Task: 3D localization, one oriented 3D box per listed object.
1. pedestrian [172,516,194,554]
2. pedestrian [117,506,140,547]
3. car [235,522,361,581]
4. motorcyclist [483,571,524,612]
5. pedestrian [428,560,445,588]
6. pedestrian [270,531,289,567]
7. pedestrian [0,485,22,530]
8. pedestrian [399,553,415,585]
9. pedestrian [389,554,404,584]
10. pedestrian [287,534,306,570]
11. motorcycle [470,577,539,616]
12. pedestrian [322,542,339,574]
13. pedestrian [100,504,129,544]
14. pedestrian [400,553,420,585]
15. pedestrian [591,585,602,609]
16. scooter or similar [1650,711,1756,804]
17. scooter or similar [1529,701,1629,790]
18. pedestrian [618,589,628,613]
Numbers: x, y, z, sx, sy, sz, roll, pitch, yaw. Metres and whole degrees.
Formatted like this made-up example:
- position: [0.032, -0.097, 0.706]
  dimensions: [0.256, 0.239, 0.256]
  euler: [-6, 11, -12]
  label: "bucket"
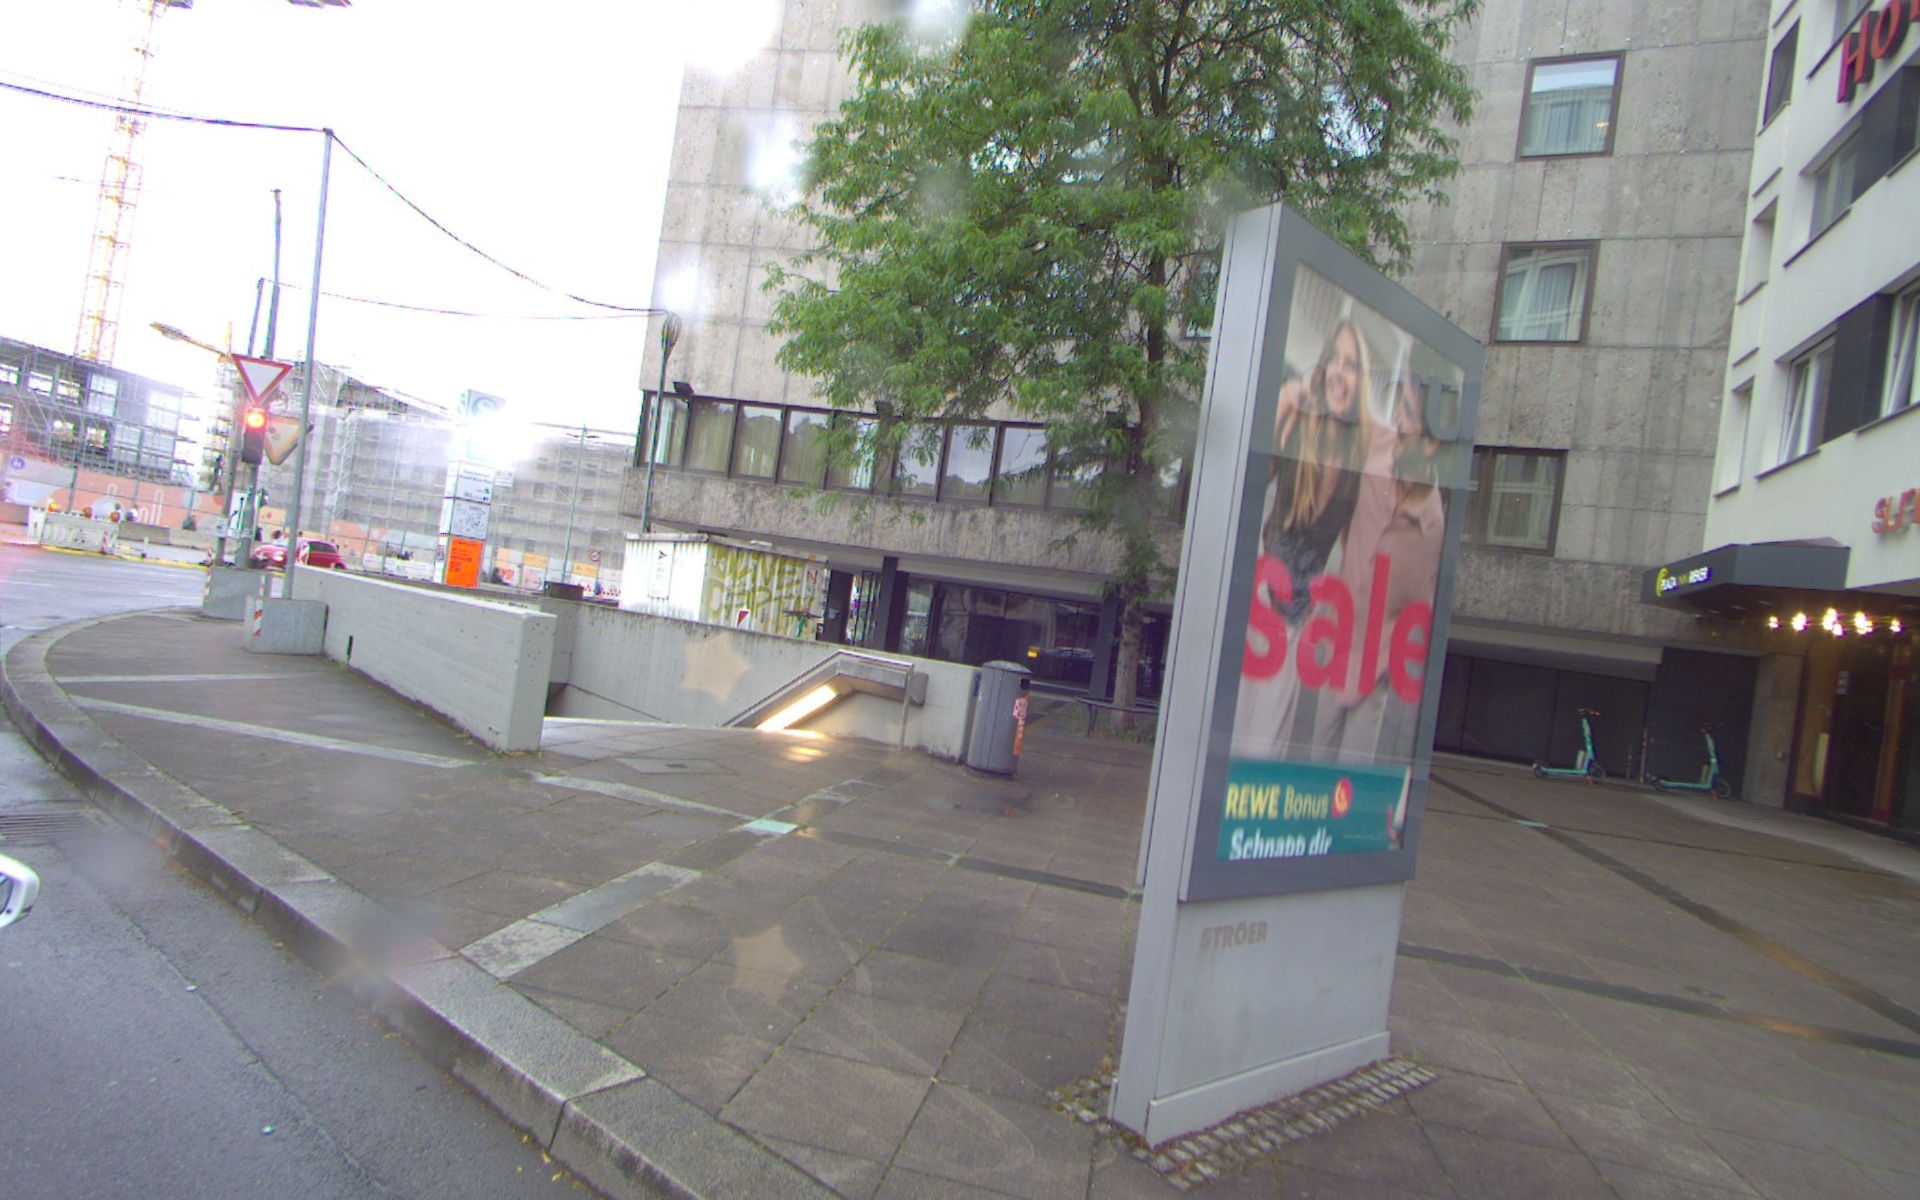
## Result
- position: [-40.694, -3.398, 52.703]
  dimensions: [0.355, 1.919, 0.577]
  euler: [7, -2, 21]
  label: "pedestrian"
- position: [-41.580, -3.666, 50.305]
  dimensions: [0.355, 1.919, 0.577]
  euler: [7, -2, 21]
  label: "pedestrian"
- position: [-27.893, -1.998, 42.530]
  dimensions: [1.962, 1.727, 4.008]
  euler: [7, -3, 14]
  label: "car"
- position: [-16.988, -0.307, 37.475]
  dimensions: [0.836, 1.373, 0.946]
  euler: [6, -3, 35]
  label: "motorcyclist"
- position: [-37.127, -1.847, 71.326]
  dimensions: [0.579, 1.919, 0.633]
  euler: [7, -2, 17]
  label: "pedestrian"
- position: [-37.881, -2.819, 55.997]
  dimensions: [0.355, 1.919, 0.577]
  euler: [7, -2, 21]
  label: "pedestrian"
- position: [-42.704, -4.145, 45.147]
  dimensions: [0.355, 1.919, 0.577]
  euler: [7, -2, 21]
  label: "pedestrian"
- position: [-35.120, -1.958, 63.873]
  dimensions: [0.355, 1.919, 0.577]
  euler: [7, -2, 21]
  label: "pedestrian"
- position: [-37.802, -2.093, 67.479]
  dimensions: [0.355, 1.919, 0.577]
  euler: [7, -2, 16]
  label: "pedestrian"
- position: [-37.246, -2.702, 56.489]
  dimensions: [0.355, 1.919, 0.577]
  euler: [7, -2, 21]
  label: "pedestrian"
- position: [-16.967, -0.129, 37.522]
  dimensions: [0.838, 1.120, 2.139]
  euler: [6, -4, 35]
  label: "motorcycle"
- position: [-39.129, -2.589, 62.496]
  dimensions: [0.355, 1.919, 0.577]
  euler: [7, -2, 21]
  label: "pedestrian"
- position: [-43.382, -3.910, 51.620]
  dimensions: [0.620, 1.922, 0.659]
  euler: [7, -2, 18]
  label: "pedestrian"
- position: [-36.217, -2.036, 66.260]
  dimensions: [0.555, 1.919, 0.801]
  euler: [7, -2, 17]
  label: "pedestrian"
- position: [-30.635, -0.242, 84.816]
  dimensions: [0.355, 1.919, 0.577]
  euler: [7, -2, 21]
  label: "pedestrian"
- position: [12.411, 2.617, 16.835]
  dimensions: [1.208, 1.352, 0.520]
  euler: [7, -2, 19]
  label: "scooter or similar"
- position: [10.372, 2.424, 16.903]
  dimensions: [1.208, 1.269, 0.565]
  euler: [7, 0, 19]
  label: "scooter or similar"
- position: [-29.059, 0.080, 86.759]
  dimensions: [0.355, 1.919, 0.577]
  euler: [7, -2, 21]
  label: "pedestrian"
